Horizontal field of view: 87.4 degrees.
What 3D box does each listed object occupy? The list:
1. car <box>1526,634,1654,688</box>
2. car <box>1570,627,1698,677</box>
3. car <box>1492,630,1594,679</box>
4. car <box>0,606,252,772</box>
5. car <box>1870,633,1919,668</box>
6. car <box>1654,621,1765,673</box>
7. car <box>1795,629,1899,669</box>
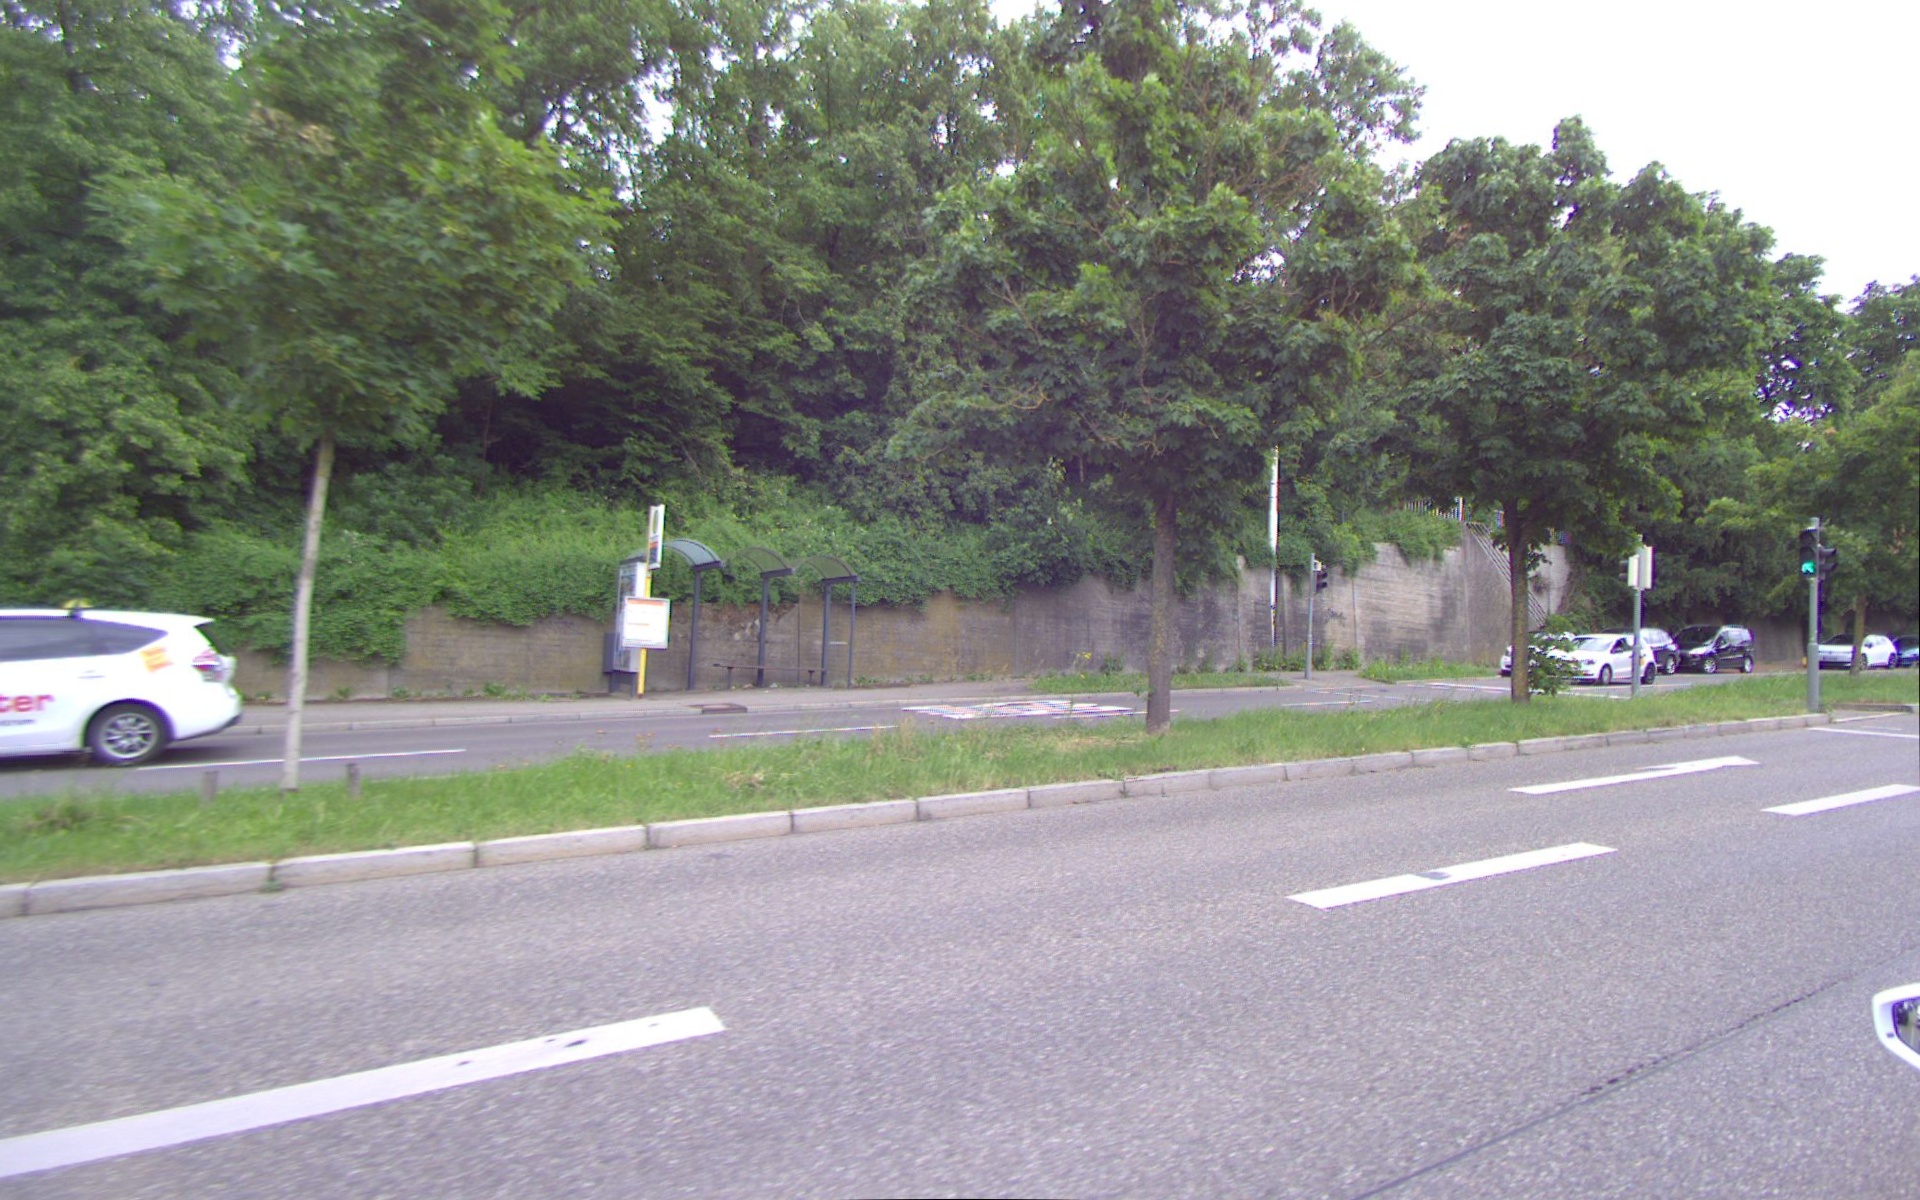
[{"bbox_3d":[18.531,1.740,29.506,3.747,1.447,1.720,1,0,-32],"label":"car"},{"bbox_3d":[24.273,1.857,36.170,4.475,1.678,1.961,2,-1,-28],"label":"car"},{"bbox_3d":[19.551,1.790,33.668,3.064,1.518,1.769,1,0,-33],"label":"car"},{"bbox_3d":[-9.931,0.856,10.183,4.412,1.581,1.769,1,-1,-34],"label":"car"},{"bbox_3d":[44.620,2.325,46.819,4.241,1.549,1.707,1,0,-24],"label":"car"},{"bbox_3d":[28.749,1.763,38.502,4.433,1.867,1.772,1,0,-29],"label":"car"},{"bbox_3d":[39.091,2.133,44.284,4.109,1.650,1.776,1,0,-22],"label":"car"}]
